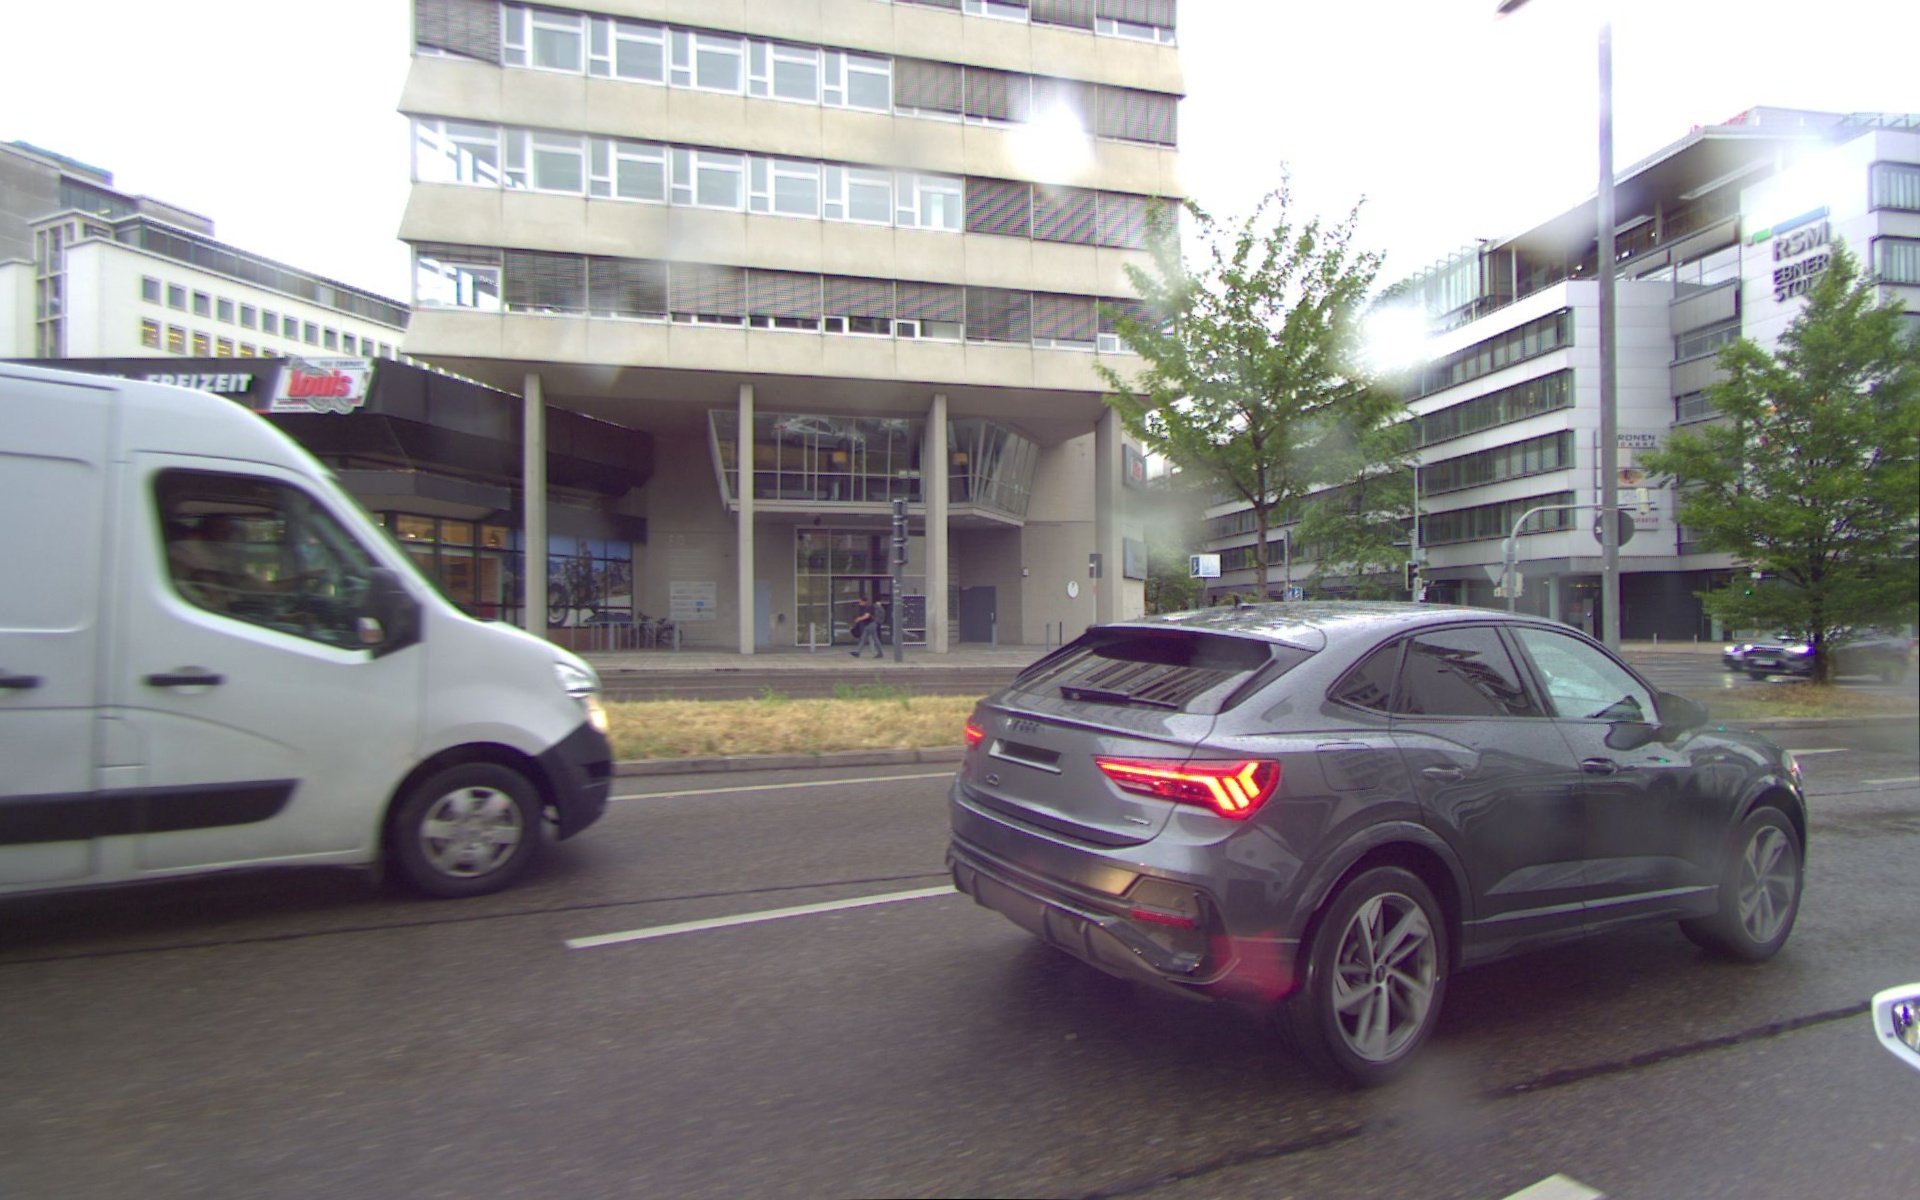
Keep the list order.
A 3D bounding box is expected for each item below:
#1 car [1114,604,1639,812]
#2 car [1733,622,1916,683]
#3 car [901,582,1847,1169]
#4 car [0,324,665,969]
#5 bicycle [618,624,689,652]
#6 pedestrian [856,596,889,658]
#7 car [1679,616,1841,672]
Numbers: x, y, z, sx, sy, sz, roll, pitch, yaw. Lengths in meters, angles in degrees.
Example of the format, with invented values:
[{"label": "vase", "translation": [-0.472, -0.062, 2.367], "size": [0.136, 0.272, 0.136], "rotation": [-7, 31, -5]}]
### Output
[{"label": "car", "translation": [3.943, 0.867, 9.416], "size": [4.712, 1.554, 1.860], "rotation": [1, 0, -25]}, {"label": "car", "translation": [23.781, 1.432, 27.678], "size": [4.078, 1.556, 1.646], "rotation": [1, 0, -11]}, {"label": "car", "translation": [1.996, 0.761, 4.427], "size": [4.222, 1.542, 1.640], "rotation": [1, 0, -31]}, {"label": "car", "translation": [-4.344, 0.171, 4.553], "size": [5.429, 2.473, 1.932], "rotation": [1, 0, -37]}, {"label": "bicycle", "translation": [-10.036, 1.240, 32.920], "size": [2.166, 0.871, 0.456], "rotation": [2, 0, -31]}, {"label": "pedestrian", "translation": [-2.435, 0.749, 27.953], "size": [0.751, 1.706, 0.677], "rotation": [1, 0, -17]}, {"label": "car", "translation": [26.022, 1.417, 32.740], "size": [3.928, 1.632, 1.996], "rotation": [1, 1, -10]}]
